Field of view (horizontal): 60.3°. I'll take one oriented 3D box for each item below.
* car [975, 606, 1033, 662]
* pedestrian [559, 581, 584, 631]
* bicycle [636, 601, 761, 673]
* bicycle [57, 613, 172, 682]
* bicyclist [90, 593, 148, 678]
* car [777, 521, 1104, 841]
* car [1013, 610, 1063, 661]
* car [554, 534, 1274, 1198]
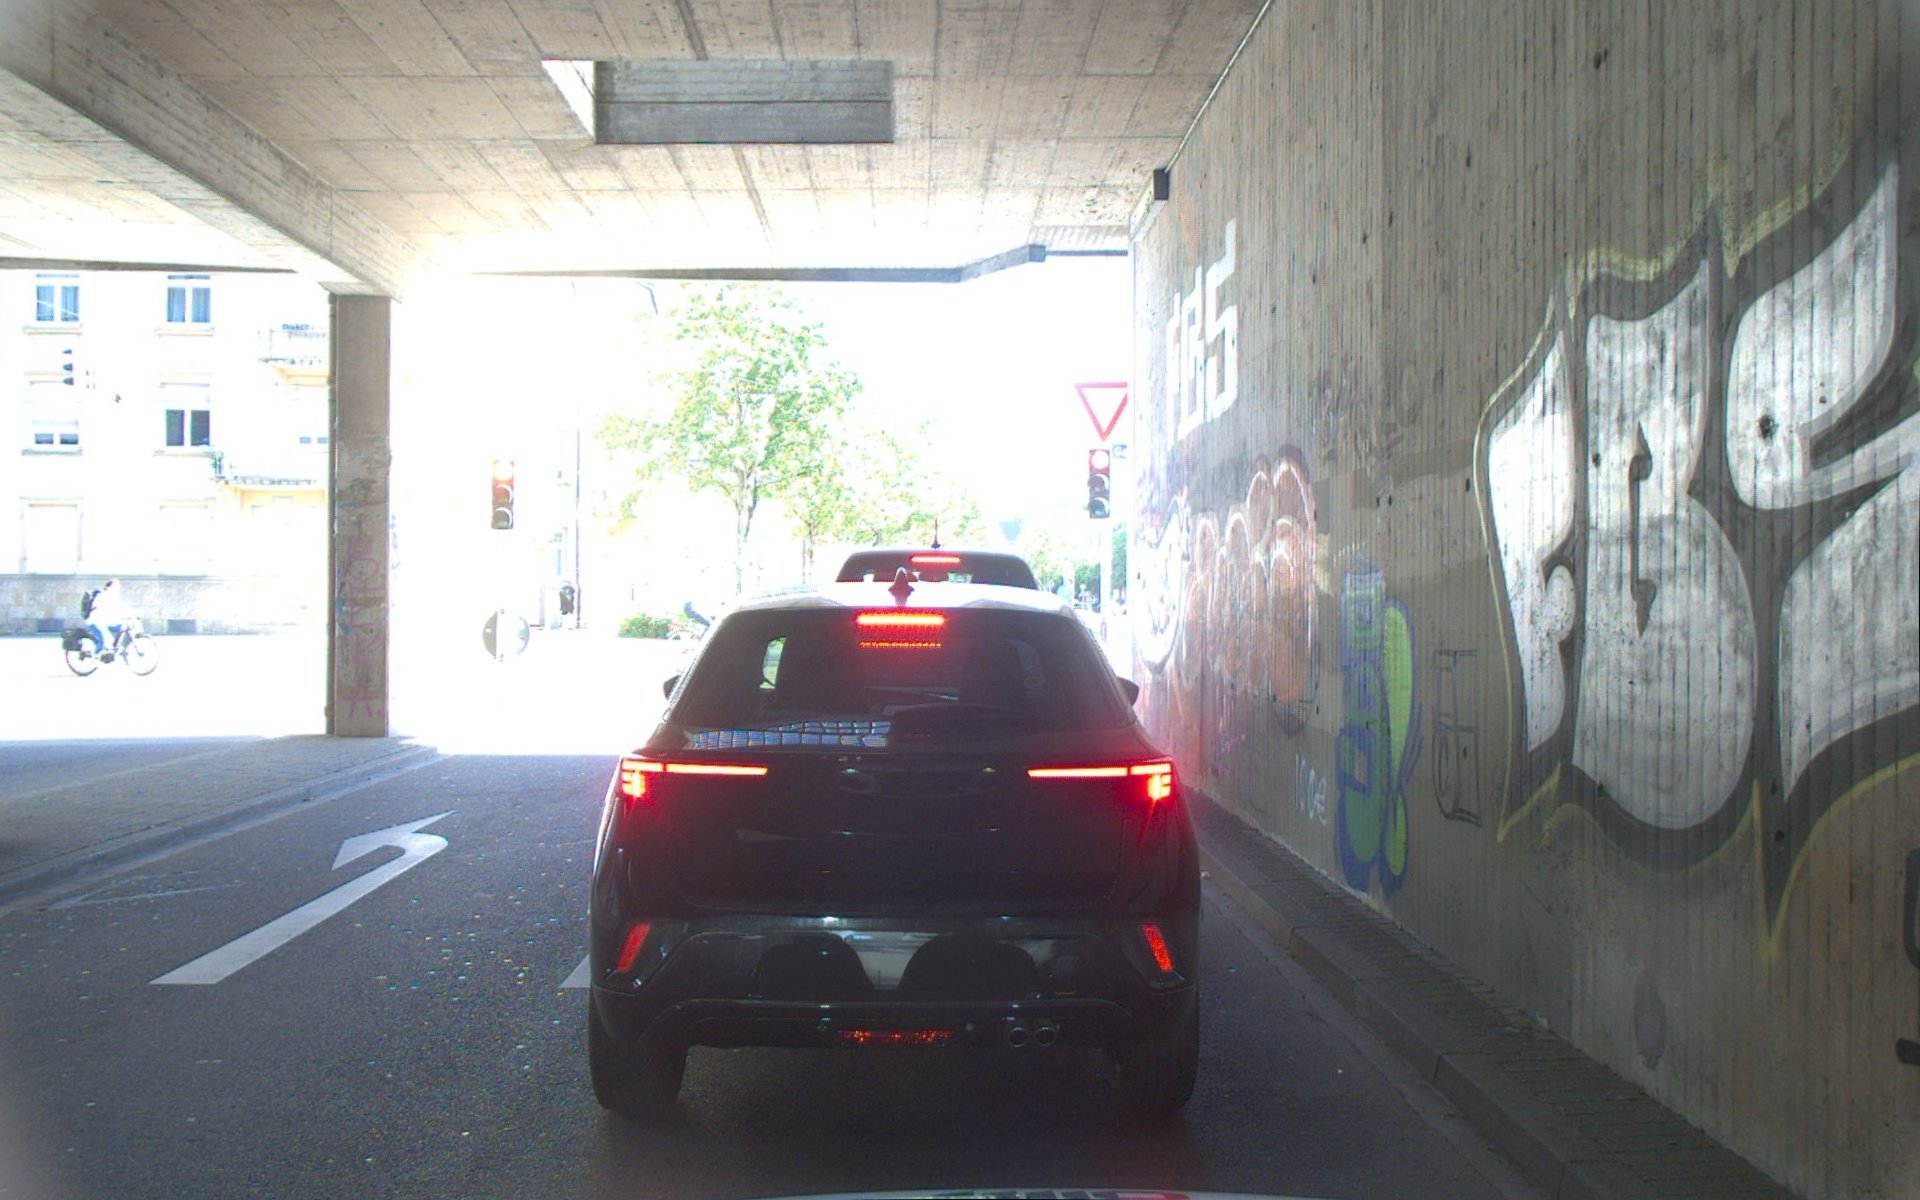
[{"bbox_3d":[1.703,1.248,62.307,1.951,2.004,4.166,1,0,4],"label":"car"},{"bbox_3d":[-13.293,0.200,56.566,0.658,1.666,0.740,1,-1,-1],"label":"pedestrian"},{"bbox_3d":[-4.326,0.608,27.467,1.872,1.138,0.953,1,0,2],"label":"bicycle"},{"bbox_3d":[-14.324,0.798,28.032,1.704,1.138,0.477,1,-1,2],"label":"bicycle"},{"bbox_3d":[-14.242,0.596,28.019,0.730,1.400,0.452,1,-1,2],"label":"bicyclist"},{"bbox_3d":[-0.141,0.472,11.909,1.953,1.904,3.999,0,0,-1],"label":"car"},{"bbox_3d":[3.261,1.443,68.390,1.951,2.004,4.166,1,0,4],"label":"car"},{"bbox_3d":[-0.138,0.608,6.031,1.729,1.598,4.000,1,1,-1],"label":"car"}]
